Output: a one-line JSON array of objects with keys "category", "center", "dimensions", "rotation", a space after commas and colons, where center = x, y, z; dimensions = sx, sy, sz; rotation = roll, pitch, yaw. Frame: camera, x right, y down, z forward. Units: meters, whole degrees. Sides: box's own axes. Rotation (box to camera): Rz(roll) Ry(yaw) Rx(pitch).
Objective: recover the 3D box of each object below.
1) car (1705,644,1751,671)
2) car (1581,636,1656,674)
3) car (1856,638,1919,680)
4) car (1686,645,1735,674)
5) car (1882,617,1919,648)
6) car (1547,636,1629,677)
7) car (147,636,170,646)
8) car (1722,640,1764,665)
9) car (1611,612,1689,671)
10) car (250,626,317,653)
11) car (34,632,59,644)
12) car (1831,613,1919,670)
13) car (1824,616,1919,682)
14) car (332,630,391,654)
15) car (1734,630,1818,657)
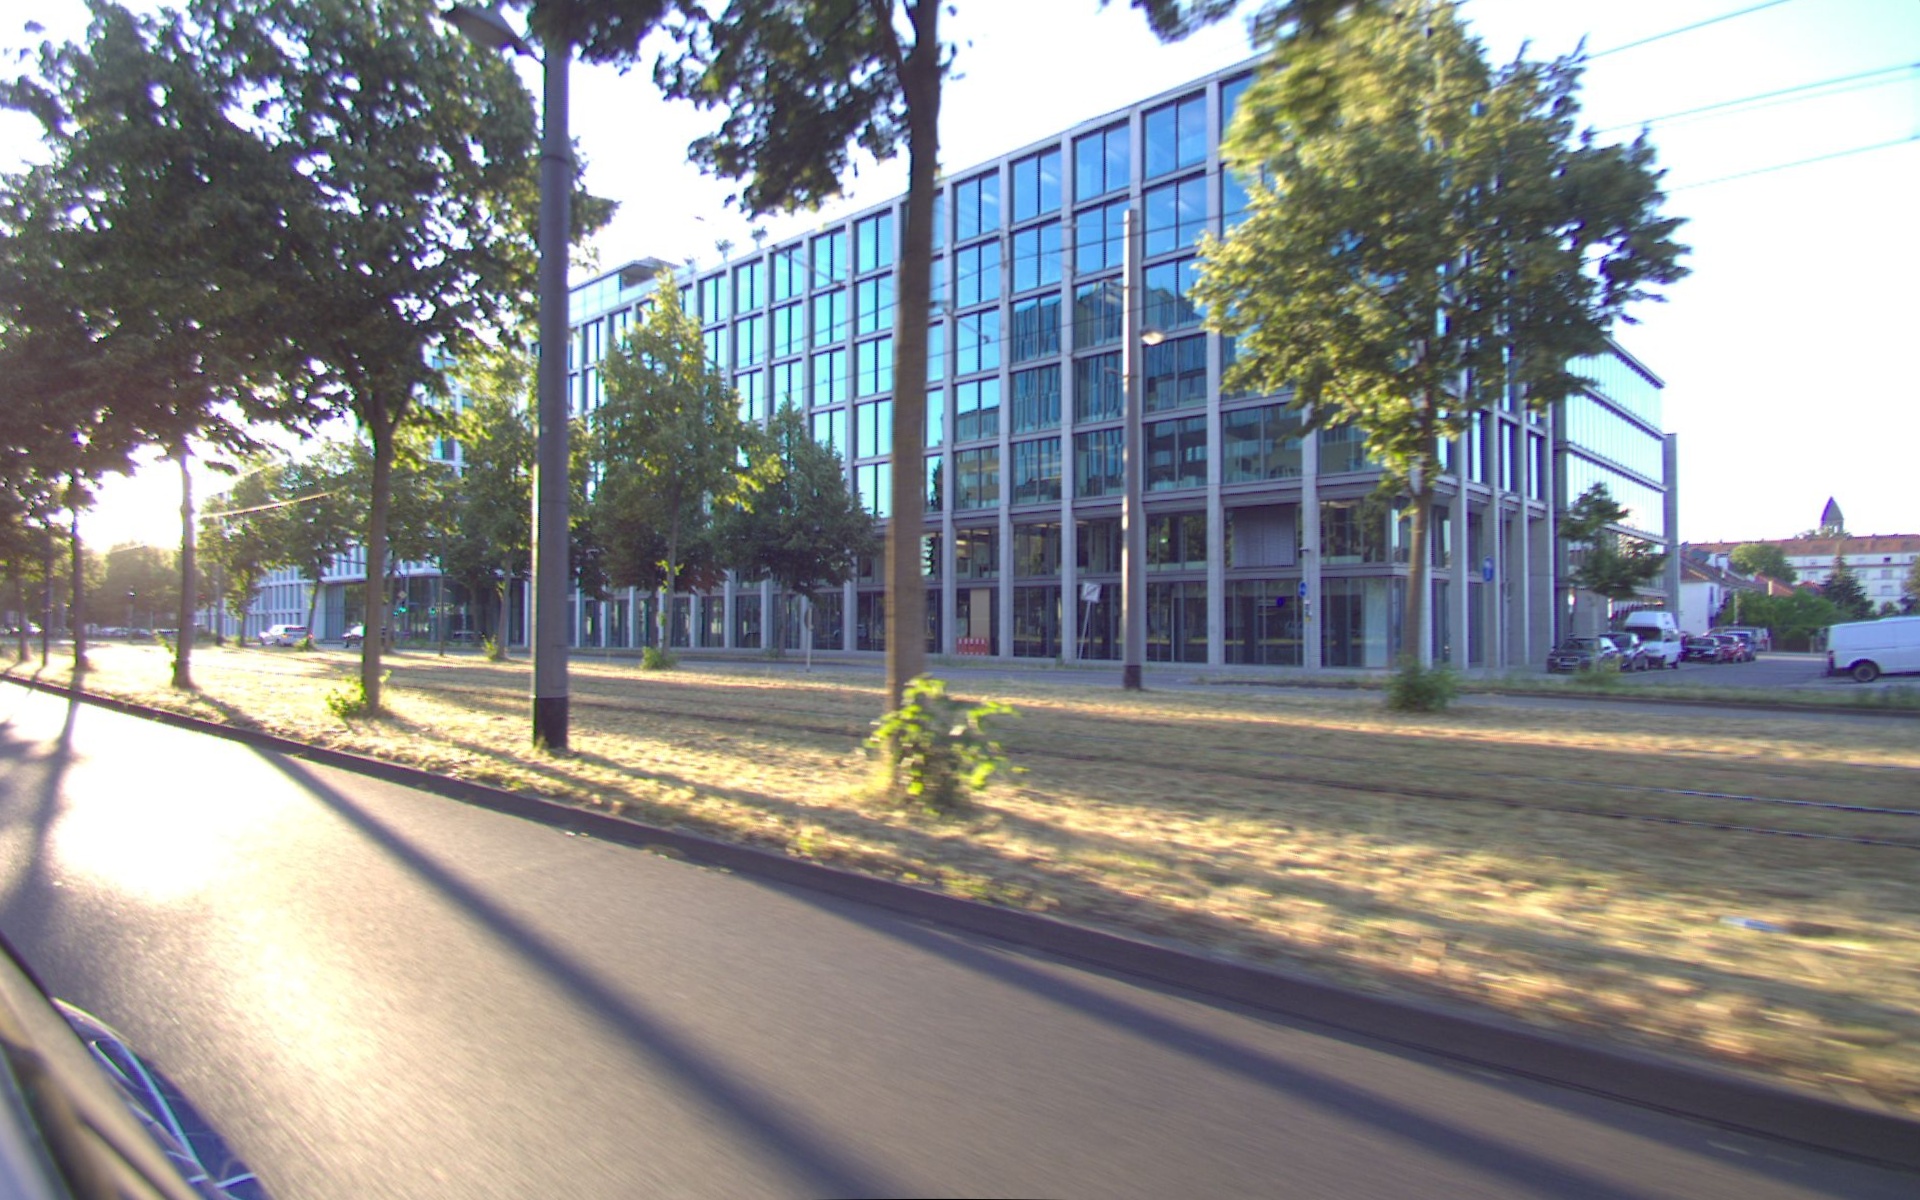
[{"category": "car", "center": [44.833, 3.326, 59.066], "dimensions": [1.689, 1.457, 3.790], "rotation": [-2, -2, 44]}, {"category": "car", "center": [27.237, 2.237, 41.815], "dimensions": [1.895, 1.457, 3.942], "rotation": [-2, -2, 44]}, {"category": "car", "center": [34.191, 2.073, 35.538], "dimensions": [3.998, 1.429, 1.973], "rotation": [-1, -2, 41]}, {"category": "car", "center": [40.771, 3.204, 54.960], "dimensions": [1.689, 1.457, 3.790], "rotation": [-2, -2, 44]}, {"category": "car", "center": [74.788, 2.573, 79.946], "dimensions": [6.105, 2.370, 2.298], "rotation": [1, -2, -43]}, {"category": "car", "center": [23.838, 2.105, 38.393], "dimensions": [1.894, 1.457, 3.943], "rotation": [-2, -2, 43]}, {"category": "car", "center": [-115.129, 5.949, 145.391], "dimensions": [3.995, 1.414, 1.742], "rotation": [-2, -3, 39]}, {"category": "car", "center": [48.644, 3.255, 62.841], "dimensions": [1.689, 1.457, 3.790], "rotation": [-2, -2, 44]}, {"category": "car", "center": [31.419, 1.849, 46.000], "dimensions": [1.974, 2.486, 5.419], "rotation": [-2, -2, 44]}, {"category": "car", "center": [-38.828, 2.261, 58.052], "dimensions": [4.626, 1.497, 1.884], "rotation": [-2, -2, 39]}, {"category": "car", "center": [-116.877, 4.855, 129.430], "dimensions": [3.993, 1.460, 1.625], "rotation": [-2, -2, 37]}, {"category": "car", "center": [48.045, 2.037, 50.167], "dimensions": [7.304, 2.787, 2.443], "rotation": [-1, -2, 40]}, {"category": "car", "center": [30.335, 1.511, 31.600], "dimensions": [5.081, 2.029, 2.183], "rotation": [-1, -2, 41]}, {"category": "car", "center": [-38.446, 2.670, 64.966], "dimensions": [4.385, 1.433, 1.911], "rotation": [-1, -2, 41]}, {"category": "car", "center": [64.814, 3.441, 80.496], "dimensions": [5.056, 2.029, 1.975], "rotation": [-1, -2, 38]}]
